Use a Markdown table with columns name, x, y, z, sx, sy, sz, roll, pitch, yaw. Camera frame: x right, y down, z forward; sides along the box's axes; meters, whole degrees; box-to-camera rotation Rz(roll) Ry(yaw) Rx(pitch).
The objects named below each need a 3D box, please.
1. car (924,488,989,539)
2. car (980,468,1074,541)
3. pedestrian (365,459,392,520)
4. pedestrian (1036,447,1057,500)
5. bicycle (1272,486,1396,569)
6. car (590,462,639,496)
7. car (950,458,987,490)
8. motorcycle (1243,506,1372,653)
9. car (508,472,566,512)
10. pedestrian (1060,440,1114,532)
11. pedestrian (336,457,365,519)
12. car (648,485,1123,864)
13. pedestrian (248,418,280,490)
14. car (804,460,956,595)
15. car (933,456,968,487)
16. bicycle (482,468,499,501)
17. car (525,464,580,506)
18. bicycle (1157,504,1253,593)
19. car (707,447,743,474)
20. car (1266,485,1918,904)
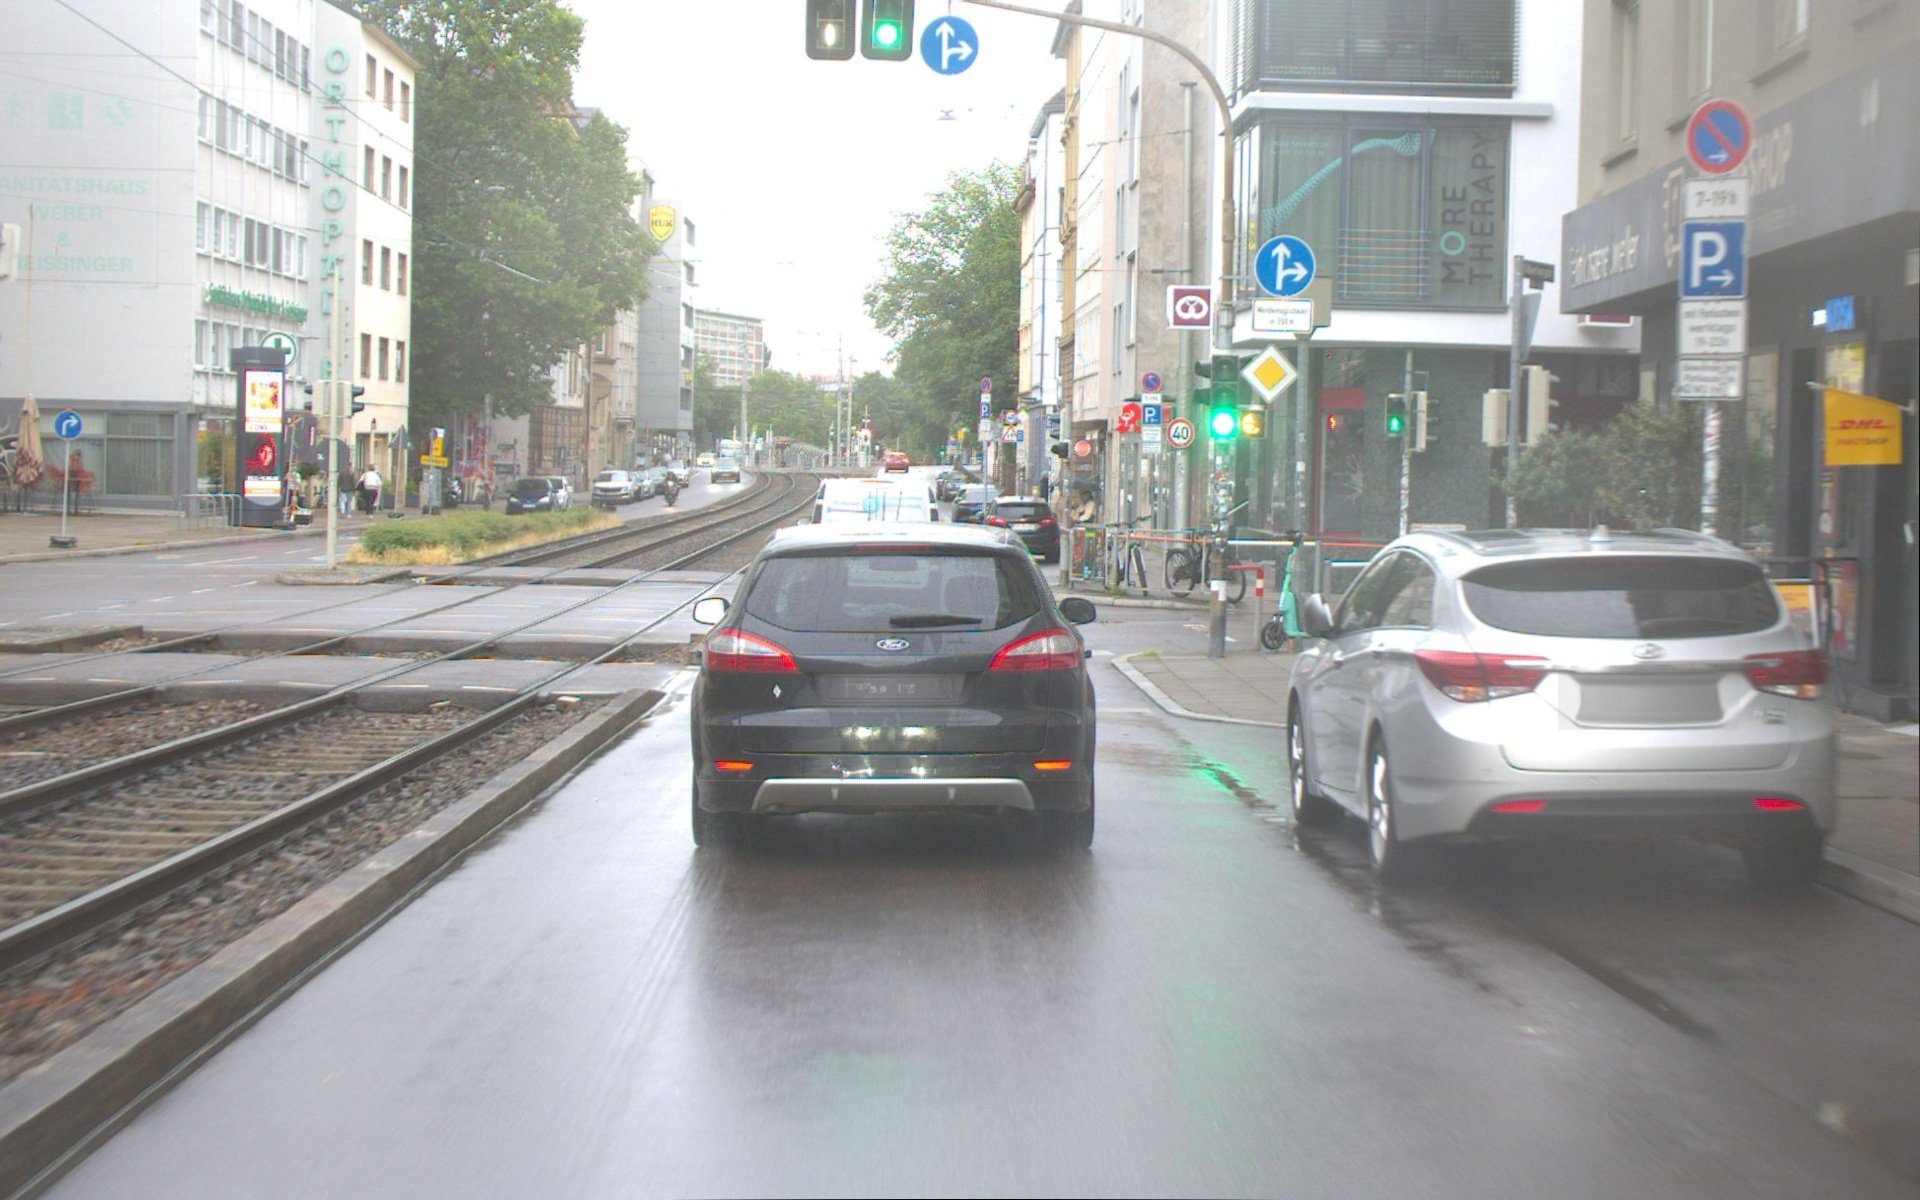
| name | x | y | z | sx | sy | sz | roll | pitch | yaw |
| --- | --- | --- | --- | --- | --- | --- | --- | --- | --- |
| car | -0.132 | -2.757 | 108.948 | 1.993 | 1.588 | 4.572 | 0 | 2 | 0 |
| car | 1.486 | -2.149 | 77.372 | 1.993 | 1.588 | 4.272 | 0 | 2 | 0 |
| pedestrian | -18.012 | -3.426 | 106.500 | 0.678 | 1.889 | 0.743 | 1 | 2 | -1 |
| pedestrian | 3.304 | -4.863 | 131.801 | 0.736 | 2.006 | 0.821 | 1 | 3 | -2 |
| bicycle | 5.391 | -1.052 | 49.661 | 0.576 | 1.153 | 1.956 | 0 | 2 | -37 |
| car | -16.511 | -5.797 | 164.471 | 1.993 | 1.513 | 4.436 | 1 | 2 | -1 |
| car | 0.411 | -6.300 | 172.034 | 1.738 | 1.483 | 4.001 | 1 | 3 | -2 |
| motorcycle | 3.527 | -0.221 | 34.911 | 1.129 | 1.456 | 0.684 | -1 | 2 | -37 |
| car | -16.111 | -4.124 | 131.102 | 1.744 | 1.463 | 4.220 | 0 | 2 | -1 |
| pedestrian | 2.187 | -1.963 | 59.416 | 0.659 | 1.576 | 0.780 | 0 | 2 | -23 |
| pedestrian | -18.909 | -3.471 | 106.643 | 0.727 | 1.889 | 0.983 | 1 | 2 | -1 |
| car | -0.331 | 0.250 | 16.573 | 1.993 | 1.588 | 4.272 | 0 | 2 | 0 |
| pedestrian | -18.505 | -3.874 | 91.412 | 0.727 | 1.889 | 0.689 | 1 | 2 | -4 |
| car | -1.074 | -1.043 | 48.450 | 1.993 | 1.809 | 4.272 | 0 | 2 | 1 |
| car | -0.505 | -6.623 | 176.835 | 1.642 | 1.510 | 4.040 | 1 | 3 | -2 |
| bicycle | -17.501 | -4.320 | 128.243 | 0.590 | 1.222 | 2.404 | 1 | 2 | -8 |
| car | -16.123 | -4.557 | 136.035 | 1.721 | 1.564 | 4.220 | 1 | 2 | -1 |
| bicycle | 3.644 | -0.777 | 51.232 | 0.497 | 1.254 | 1.957 | 0 | 2 | -25 |
| car | -14.885 | -8.840 | 217.931 | 1.993 | 1.514 | 4.444 | 1 | 1 | -1 |
| car | 2.608 | 0.293 | 15.391 | 2.024 | 1.588 | 4.621 | 0 | 2 | 0 |
